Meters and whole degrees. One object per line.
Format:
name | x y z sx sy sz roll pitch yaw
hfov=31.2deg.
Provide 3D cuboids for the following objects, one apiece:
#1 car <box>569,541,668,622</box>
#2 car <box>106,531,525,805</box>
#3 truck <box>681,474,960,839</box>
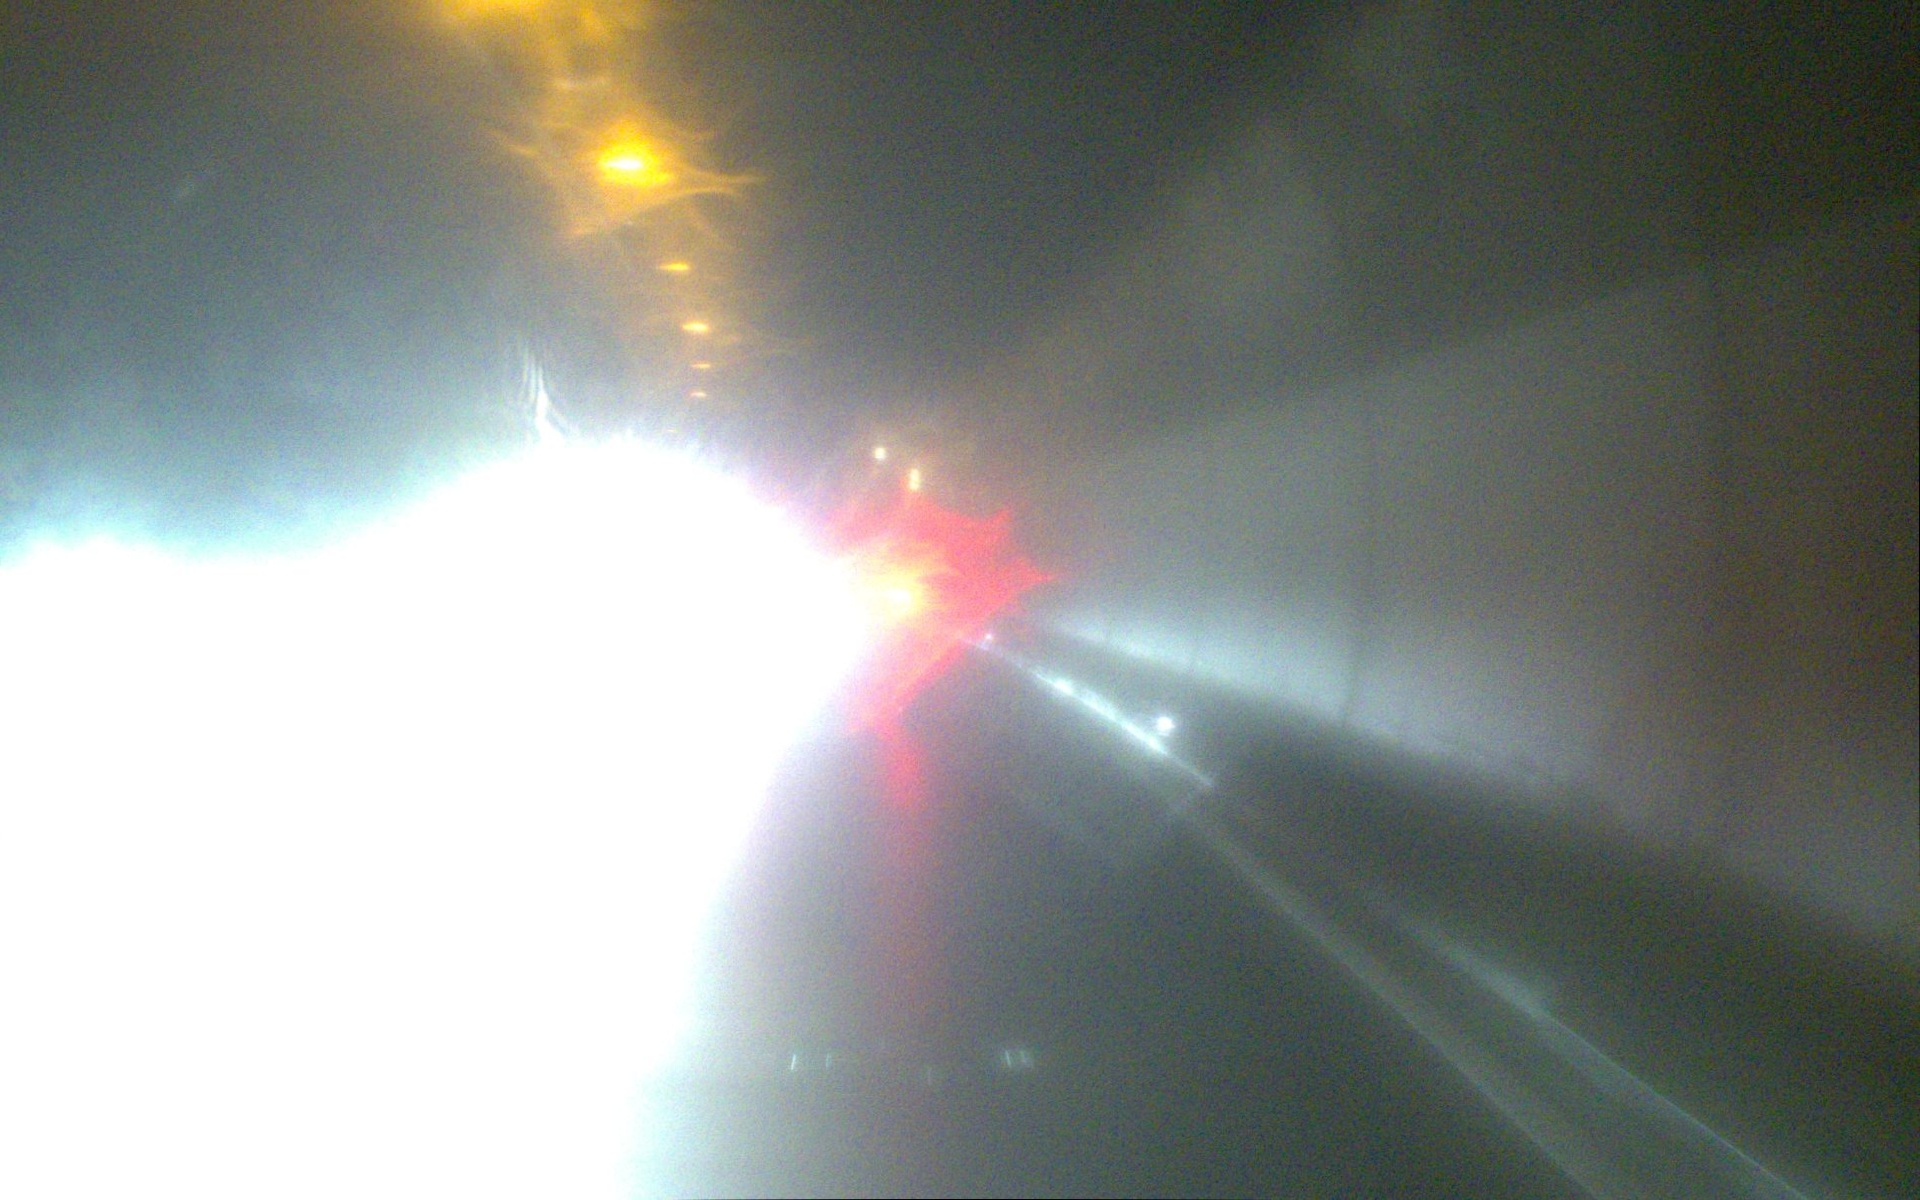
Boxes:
car | -6.685 -0.386 67.611 1.655 1.488 3.839 2 1 -2
car | -3.778 0.332 20.828 1.813 1.477 4.201 0 1 -1
truck | -1.215 0.434 32.661 2.262 3.000 7.415 2 1 -1
